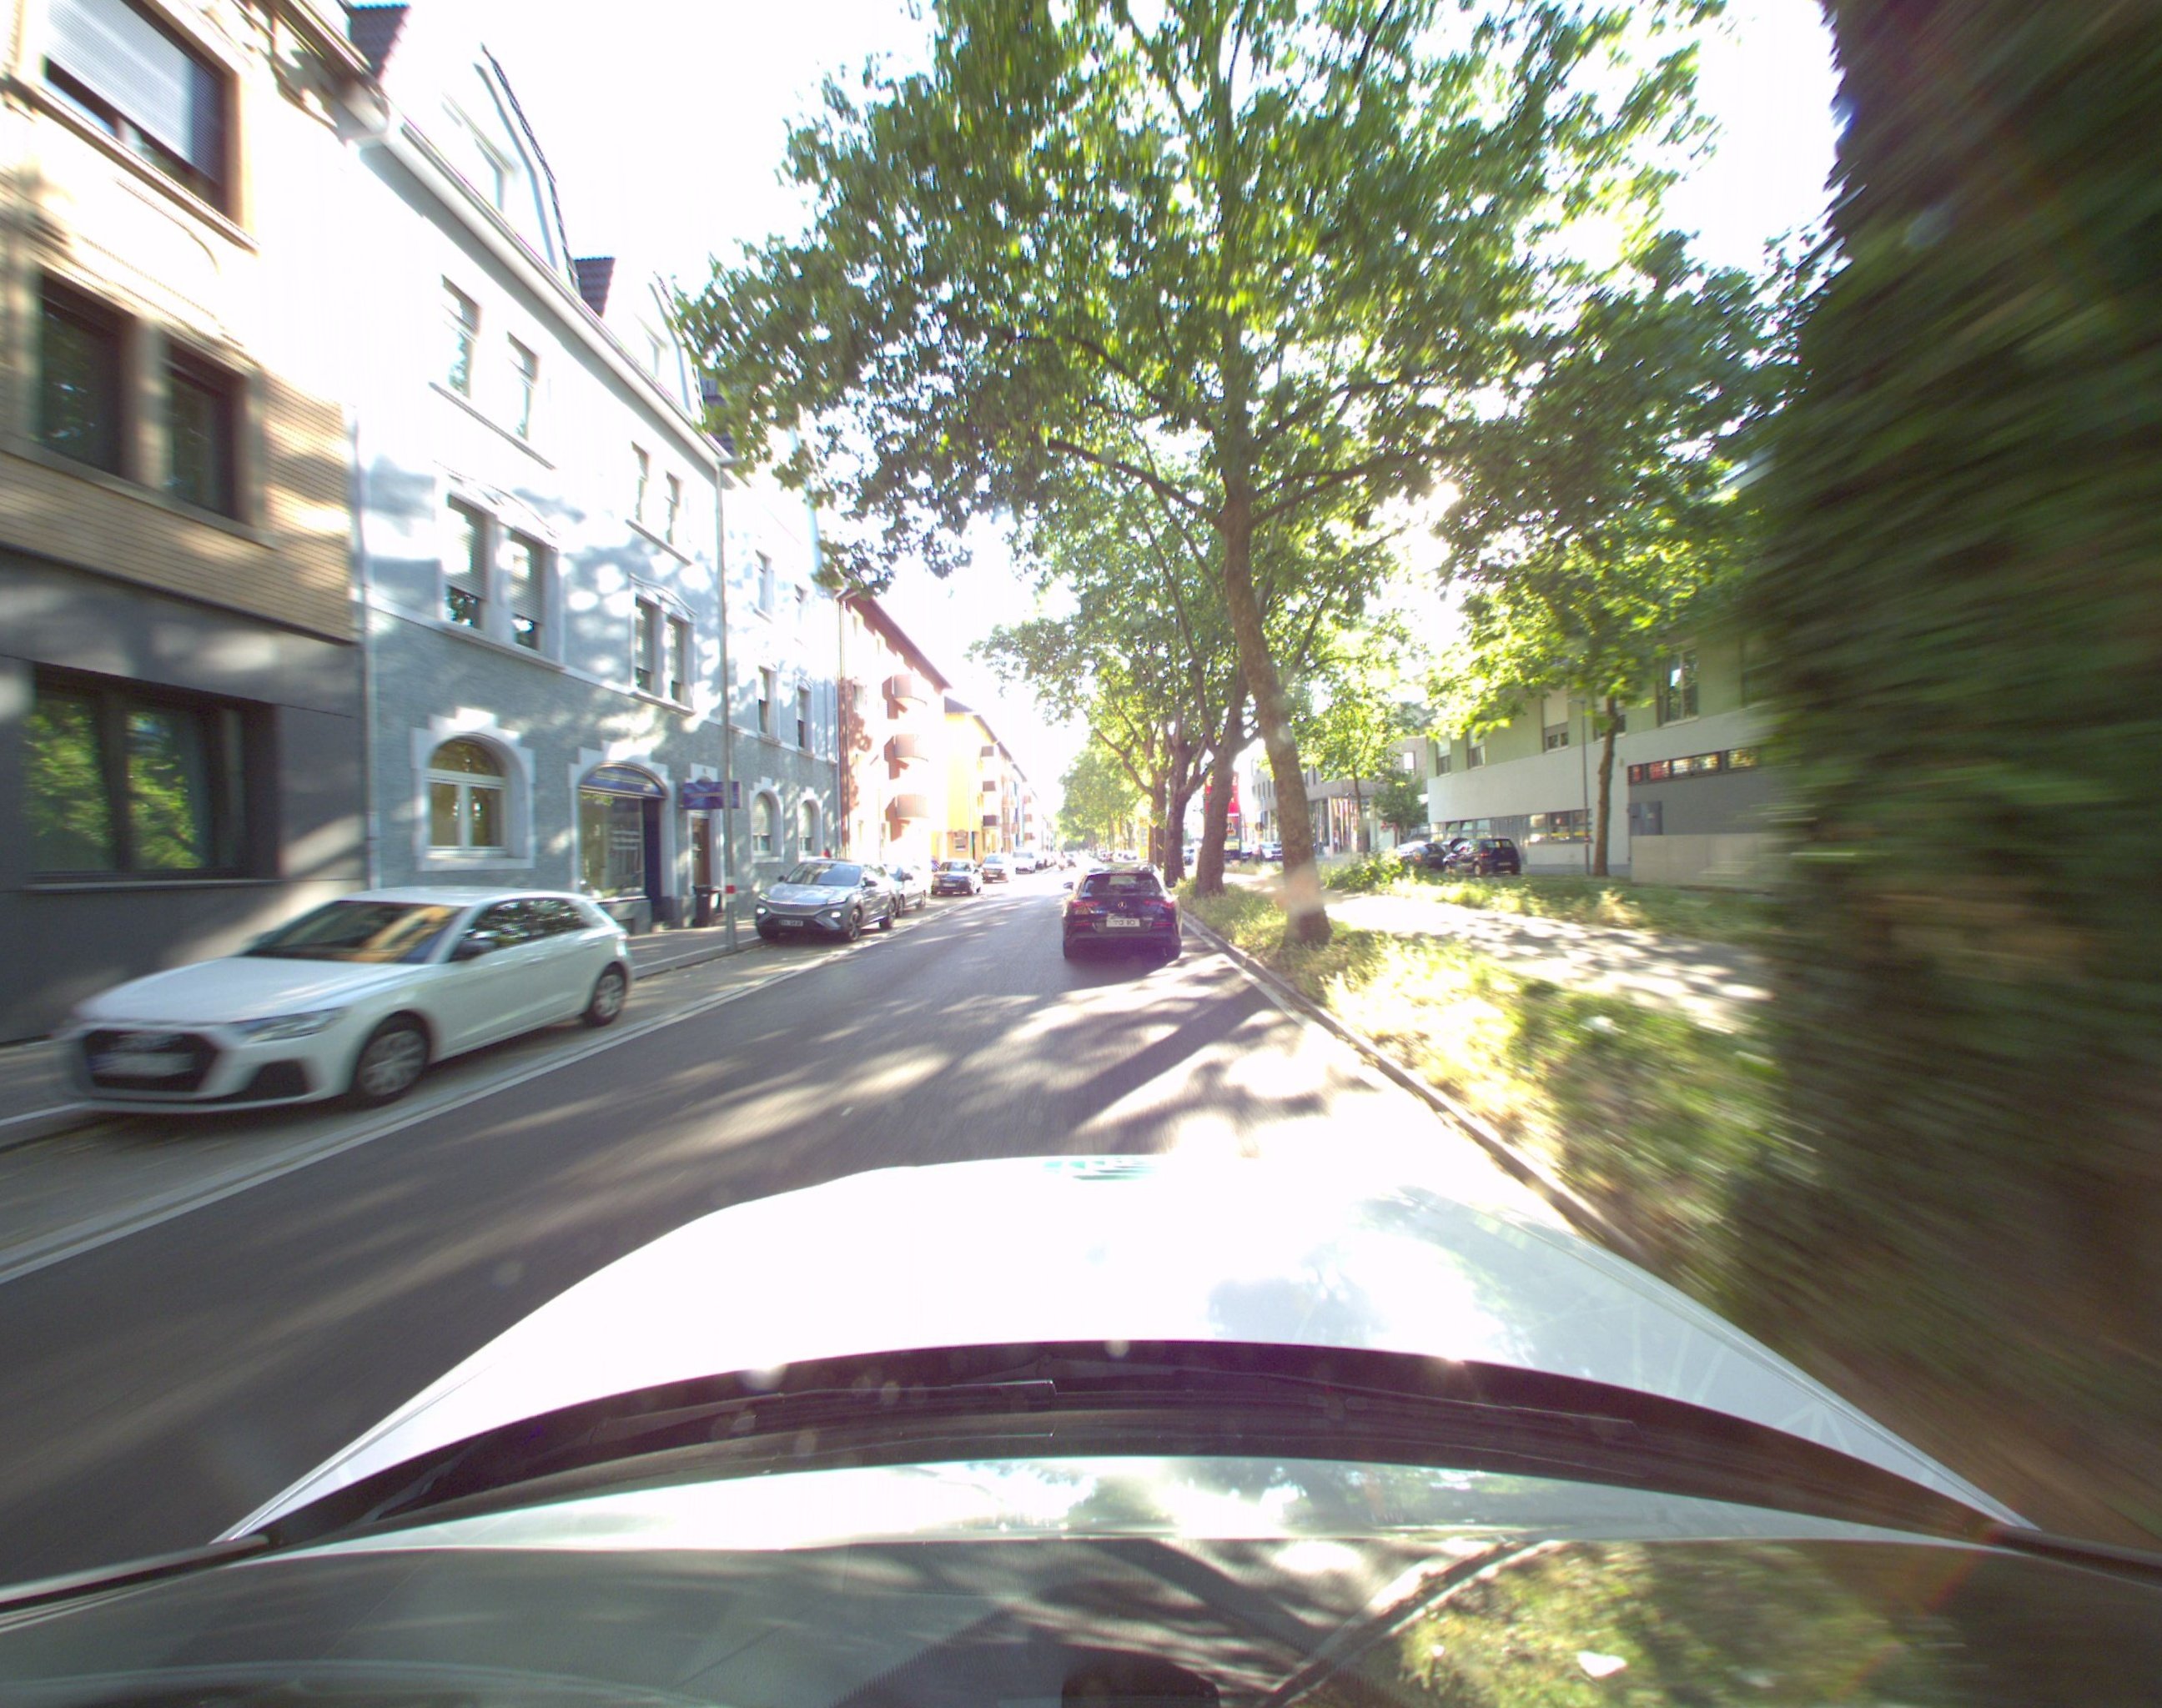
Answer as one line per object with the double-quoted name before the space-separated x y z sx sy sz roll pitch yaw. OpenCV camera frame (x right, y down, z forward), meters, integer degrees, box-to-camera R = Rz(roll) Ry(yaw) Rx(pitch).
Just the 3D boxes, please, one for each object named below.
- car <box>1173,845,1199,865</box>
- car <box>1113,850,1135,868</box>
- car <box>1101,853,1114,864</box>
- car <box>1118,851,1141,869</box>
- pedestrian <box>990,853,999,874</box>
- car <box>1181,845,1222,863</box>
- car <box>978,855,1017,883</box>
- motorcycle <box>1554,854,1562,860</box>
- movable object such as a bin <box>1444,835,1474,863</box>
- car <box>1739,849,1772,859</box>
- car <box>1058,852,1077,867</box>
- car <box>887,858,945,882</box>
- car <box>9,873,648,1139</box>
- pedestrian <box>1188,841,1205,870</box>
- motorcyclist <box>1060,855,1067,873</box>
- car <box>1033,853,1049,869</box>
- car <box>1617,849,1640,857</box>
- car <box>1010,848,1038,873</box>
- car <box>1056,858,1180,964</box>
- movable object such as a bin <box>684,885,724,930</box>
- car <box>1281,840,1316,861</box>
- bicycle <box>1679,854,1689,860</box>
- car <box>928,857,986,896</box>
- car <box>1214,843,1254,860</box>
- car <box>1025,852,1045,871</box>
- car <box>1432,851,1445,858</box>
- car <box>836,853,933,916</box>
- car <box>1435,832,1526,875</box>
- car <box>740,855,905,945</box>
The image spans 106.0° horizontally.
"car" 9.434 0.091 73.536 1.746 1.669 4.158 -2 0 0
"car" 4.076 0.490 77.687 1.804 1.538 4.584 -5 0 1
"car" 3.858 0.679 118.168 1.717 1.557 3.599 0 0 -1
"car" 4.212 0.528 70.855 1.630 1.468 4.019 -4 -1 -1
"pedestrian" -7.450 0.785 69.961 0.585 1.790 0.642 -2 0 1
"car" 11.664 0.010 78.891 3.834 1.545 1.645 -2 0 -33
"car" -4.728 0.808 46.669 1.671 1.523 4.023 0 0 2
"motorcycle" 105.809 0.607 180.691 0.545 1.241 2.264 -4 0 1
"movable object such as a bin" 20.720 -0.275 44.714 1.185 1.463 1.412 -2 0 12
"car" 108.310 0.047 130.786 1.853 1.468 4.122 -2 0 -1
"car" -1.367 0.556 85.250 1.765 1.478 4.323 -3 0 1
"car" -11.880 1.172 58.904 3.770 1.566 1.749 -2 0 1
"car" -5.579 0.962 6.850 1.671 1.496 3.874 0 0 2
"pedestrian" 7.324 0.076 51.683 0.768 1.761 0.661 -4 0 -10
"motorcyclist" -1.588 0.912 73.666 0.584 1.605 0.831 -2 0 0
"car" -4.210 0.687 86.416 1.592 1.641 4.410 0 0 -1
"car" 115.038 -0.223 171.132 1.871 1.733 4.177 -2 0 -2
"car" -4.615 0.511 66.759 1.727 1.907 5.211 -1 0 2
"car" 0.698 0.817 13.449 1.736 1.443 3.975 0 0 5
"movable object such as a bin" -8.522 1.202 18.430 0.555 0.946 0.670 -2 0 1
"car" 19.544 -0.338 73.335 1.979 1.733 4.181 -2 0 1
"bicycle" 109.258 0.527 147.581 0.383 1.003 1.478 -2 0 -16
"car" -5.061 0.897 33.652 1.671 1.486 3.603 0 0 2
"car" 15.393 -0.220 81.883 3.836 1.511 1.625 -3 1 -35
"car" -4.447 0.696 79.804 1.740 1.787 4.547 0 0 -1
"car" 109.242 0.116 248.857 1.989 2.014 3.995 -1 -1 -3
"car" -5.518 0.806 23.381 1.671 1.641 3.987 0 0 2
"car" 15.975 -0.026 32.772 1.852 1.552 3.760 -2 0 1
"car" -5.301 0.863 17.412 1.900 1.641 4.580 0 0 2
